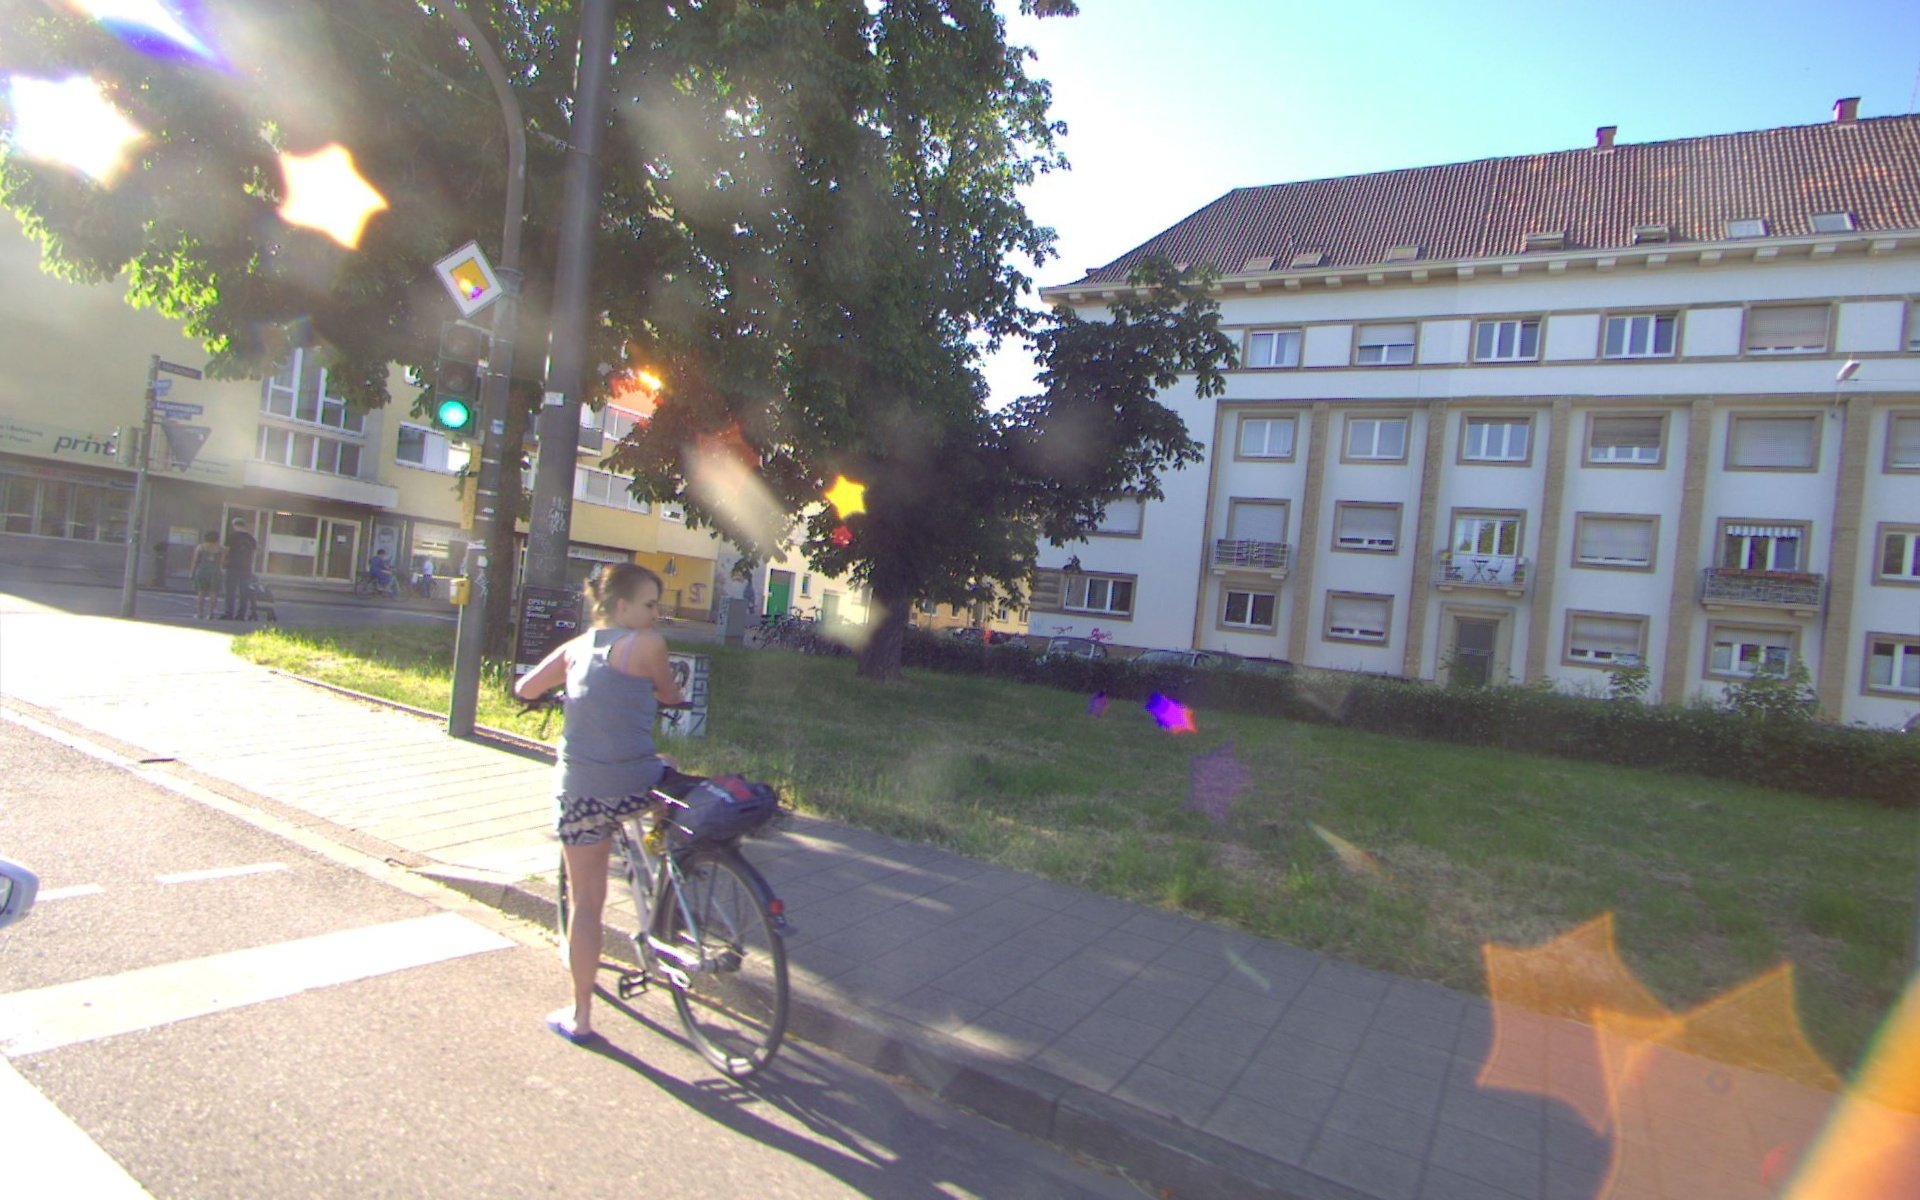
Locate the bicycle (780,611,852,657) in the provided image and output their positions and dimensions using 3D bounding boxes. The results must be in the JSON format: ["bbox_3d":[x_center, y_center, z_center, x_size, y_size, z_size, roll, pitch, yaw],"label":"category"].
[{"bbox_3d":[-4.073,0.949,28.423,1.973,1.046,0.598,6,-3,31],"label":"bicycle"}]

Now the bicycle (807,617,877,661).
[{"bbox_3d":[-3.469,1.131,29.506,1.973,1.046,0.598,6,-3,31],"label":"bicycle"}]

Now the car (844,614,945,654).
[{"bbox_3d":[-3.578,1.886,55.414,5.061,1.513,2.208,8,0,-35],"label":"car"}]

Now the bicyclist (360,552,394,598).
[{"bbox_3d":[-20.359,-0.880,35.147,0.765,1.489,0.887,5,1,-41],"label":"bicyclist"}]

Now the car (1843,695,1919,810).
[{"bbox_3d":[17.032,2.764,17.511,1.739,1.813,3.996,6,-4,32],"label":"car"}]

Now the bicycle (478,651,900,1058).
[{"bbox_3d":[-1.080,0.782,3.674,0.646,0.983,1.783,10,-4,-42],"label":"bicycle"}]

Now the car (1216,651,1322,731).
[{"bbox_3d":[7.186,2.079,23.230,1.549,1.547,3.254,6,-1,30],"label":"car"}]

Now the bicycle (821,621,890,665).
[{"bbox_3d":[-3.111,1.270,29.979,1.973,1.046,0.598,6,-3,31],"label":"bicycle"}]

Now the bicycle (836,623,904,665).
[{"bbox_3d":[-2.748,1.327,30.497,1.973,1.046,0.598,6,-3,31],"label":"bicycle"}]

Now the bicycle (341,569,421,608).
[{"bbox_3d":[-20.292,-0.402,35.294,2.245,1.000,0.778,9,3,-44],"label":"bicycle"}]

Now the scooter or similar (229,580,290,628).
[{"bbox_3d":[-12.479,0.073,17.925,0.670,0.745,0.599,6,-3,31],"label":"scooter or similar"}]

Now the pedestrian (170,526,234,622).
[{"bbox_3d":[-13.036,-0.447,17.306,0.489,1.539,0.646,5,-3,44],"label":"pedestrian"}]

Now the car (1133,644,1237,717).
[{"bbox_3d":[5.703,2.014,25.260,1.549,1.547,3.254,6,-1,30],"label":"car"}]

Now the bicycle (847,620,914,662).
[{"bbox_3d":[-2.469,1.262,31.056,1.973,1.046,0.598,6,-3,31],"label":"bicycle"}]

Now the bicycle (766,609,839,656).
[{"bbox_3d":[-4.362,0.891,27.860,1.957,1.046,0.598,6,-3,31],"label":"bicycle"}]

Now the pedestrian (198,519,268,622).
[{"bbox_3d":[-12.790,-0.514,17.705,0.526,1.700,0.729,5,-3,44],"label":"pedestrian"}]

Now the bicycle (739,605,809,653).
[{"bbox_3d":[-4.941,0.772,26.690,1.766,1.046,0.598,6,-3,31],"label":"bicycle"}]

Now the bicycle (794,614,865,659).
[{"bbox_3d":[-3.756,1.046,28.973,1.973,1.046,0.598,6,-3,31],"label":"bicycle"}]

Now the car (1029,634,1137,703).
[{"bbox_3d":[3.261,1.803,26.278,1.549,1.547,3.254,6,-1,30],"label":"car"}]

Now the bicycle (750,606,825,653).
[{"bbox_3d":[-4.699,0.794,27.304,1.973,1.046,0.598,6,-3,31],"label":"bicycle"}]

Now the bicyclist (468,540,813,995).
[{"bbox_3d":[-1.107,0.526,3.517,0.790,1.337,0.639,6,-3,34],"label":"bicyclist"}]

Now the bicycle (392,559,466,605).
[{"bbox_3d":[-20.836,-0.689,39.554,0.598,1.414,2.477,6,-4,30],"label":"bicycle"}]
